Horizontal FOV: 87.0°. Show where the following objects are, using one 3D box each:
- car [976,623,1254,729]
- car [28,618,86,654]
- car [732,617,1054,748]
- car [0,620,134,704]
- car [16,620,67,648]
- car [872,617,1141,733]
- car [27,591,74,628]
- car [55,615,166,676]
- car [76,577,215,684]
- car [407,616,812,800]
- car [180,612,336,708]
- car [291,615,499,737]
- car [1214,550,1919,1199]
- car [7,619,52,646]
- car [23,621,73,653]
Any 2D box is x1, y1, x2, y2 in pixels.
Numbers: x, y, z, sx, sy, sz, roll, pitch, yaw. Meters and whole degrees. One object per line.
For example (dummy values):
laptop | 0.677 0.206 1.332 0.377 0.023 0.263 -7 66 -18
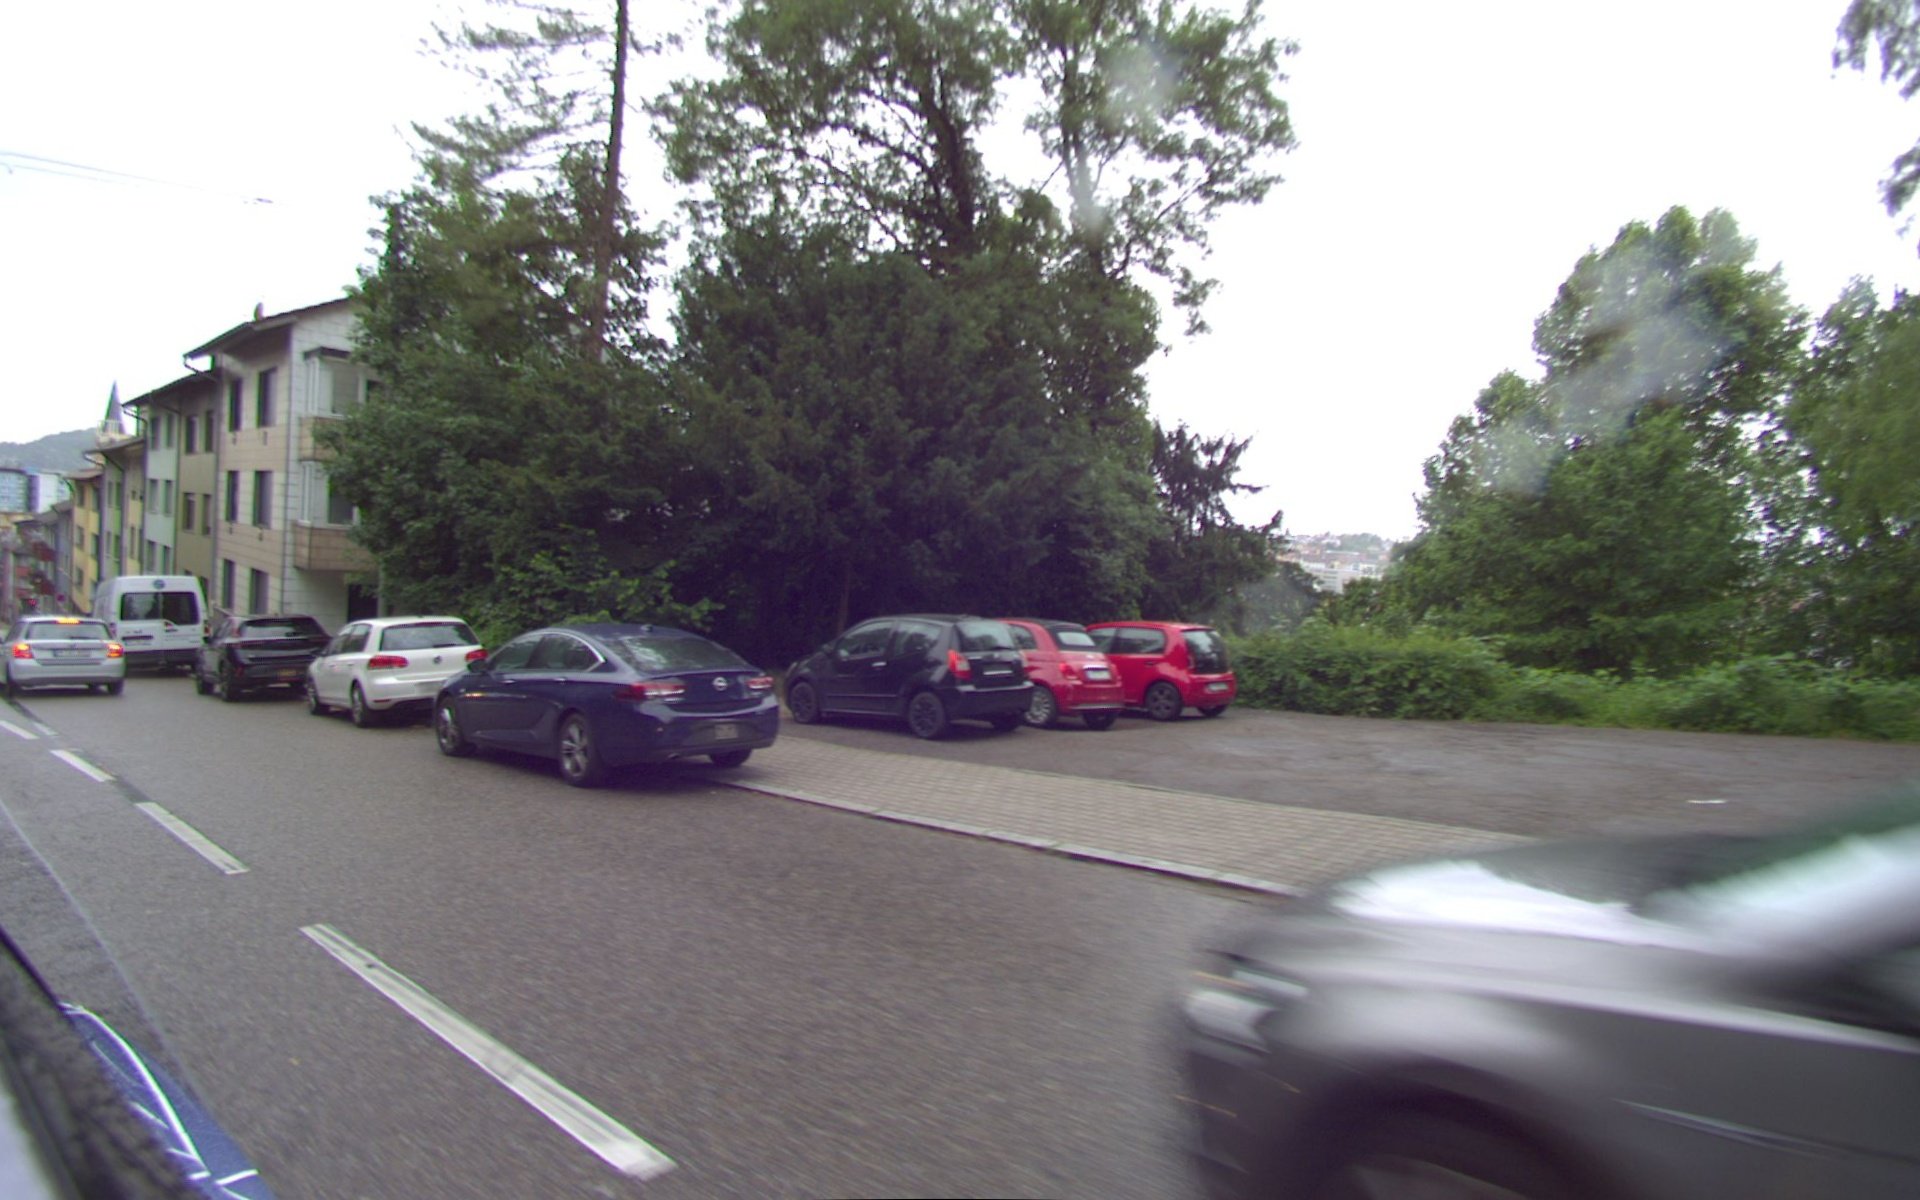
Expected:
car | 2.363 1.114 16.195 4.241 1.470 1.578 -1 -2 42
car | -42.814 1.684 47.966 4.001 1.606 1.673 -1 -3 44
car | -1.020 0.971 13.455 4.396 1.470 1.704 -1 -2 42
car | -17.356 1.144 19.370 3.910 1.446 1.706 -1 -4 41
car | -53.134 1.955 58.511 4.001 1.548 1.882 -1 -3 44
car | 0.592 0.998 14.774 3.774 1.470 1.603 -1 -2 42
car | -66.555 0.732 74.022 5.445 2.570 2.093 -1 -4 44
car | -26.564 1.392 31.584 4.884 1.753 1.944 -1 -4 43
car | -21.648 0.826 26.795 5.445 2.570 2.093 -1 -4 44
car | -3.835 0.989 10.584 4.753 1.505 1.840 -1 -5 41
car | -13.394 1.099 19.215 4.187 1.616 1.626 -1 -4 45
car | -8.568 1.048 15.193 1.637 1.581 4.150 3 -3 -45
car | 2.561 0.709 1.304 3.998 1.502 1.742 -1 -3 41
car | -59.887 2.067 65.125 4.330 1.669 1.882 -1 -3 44
car | -48.046 1.915 53.281 4.057 1.606 1.664 -1 -3 44
